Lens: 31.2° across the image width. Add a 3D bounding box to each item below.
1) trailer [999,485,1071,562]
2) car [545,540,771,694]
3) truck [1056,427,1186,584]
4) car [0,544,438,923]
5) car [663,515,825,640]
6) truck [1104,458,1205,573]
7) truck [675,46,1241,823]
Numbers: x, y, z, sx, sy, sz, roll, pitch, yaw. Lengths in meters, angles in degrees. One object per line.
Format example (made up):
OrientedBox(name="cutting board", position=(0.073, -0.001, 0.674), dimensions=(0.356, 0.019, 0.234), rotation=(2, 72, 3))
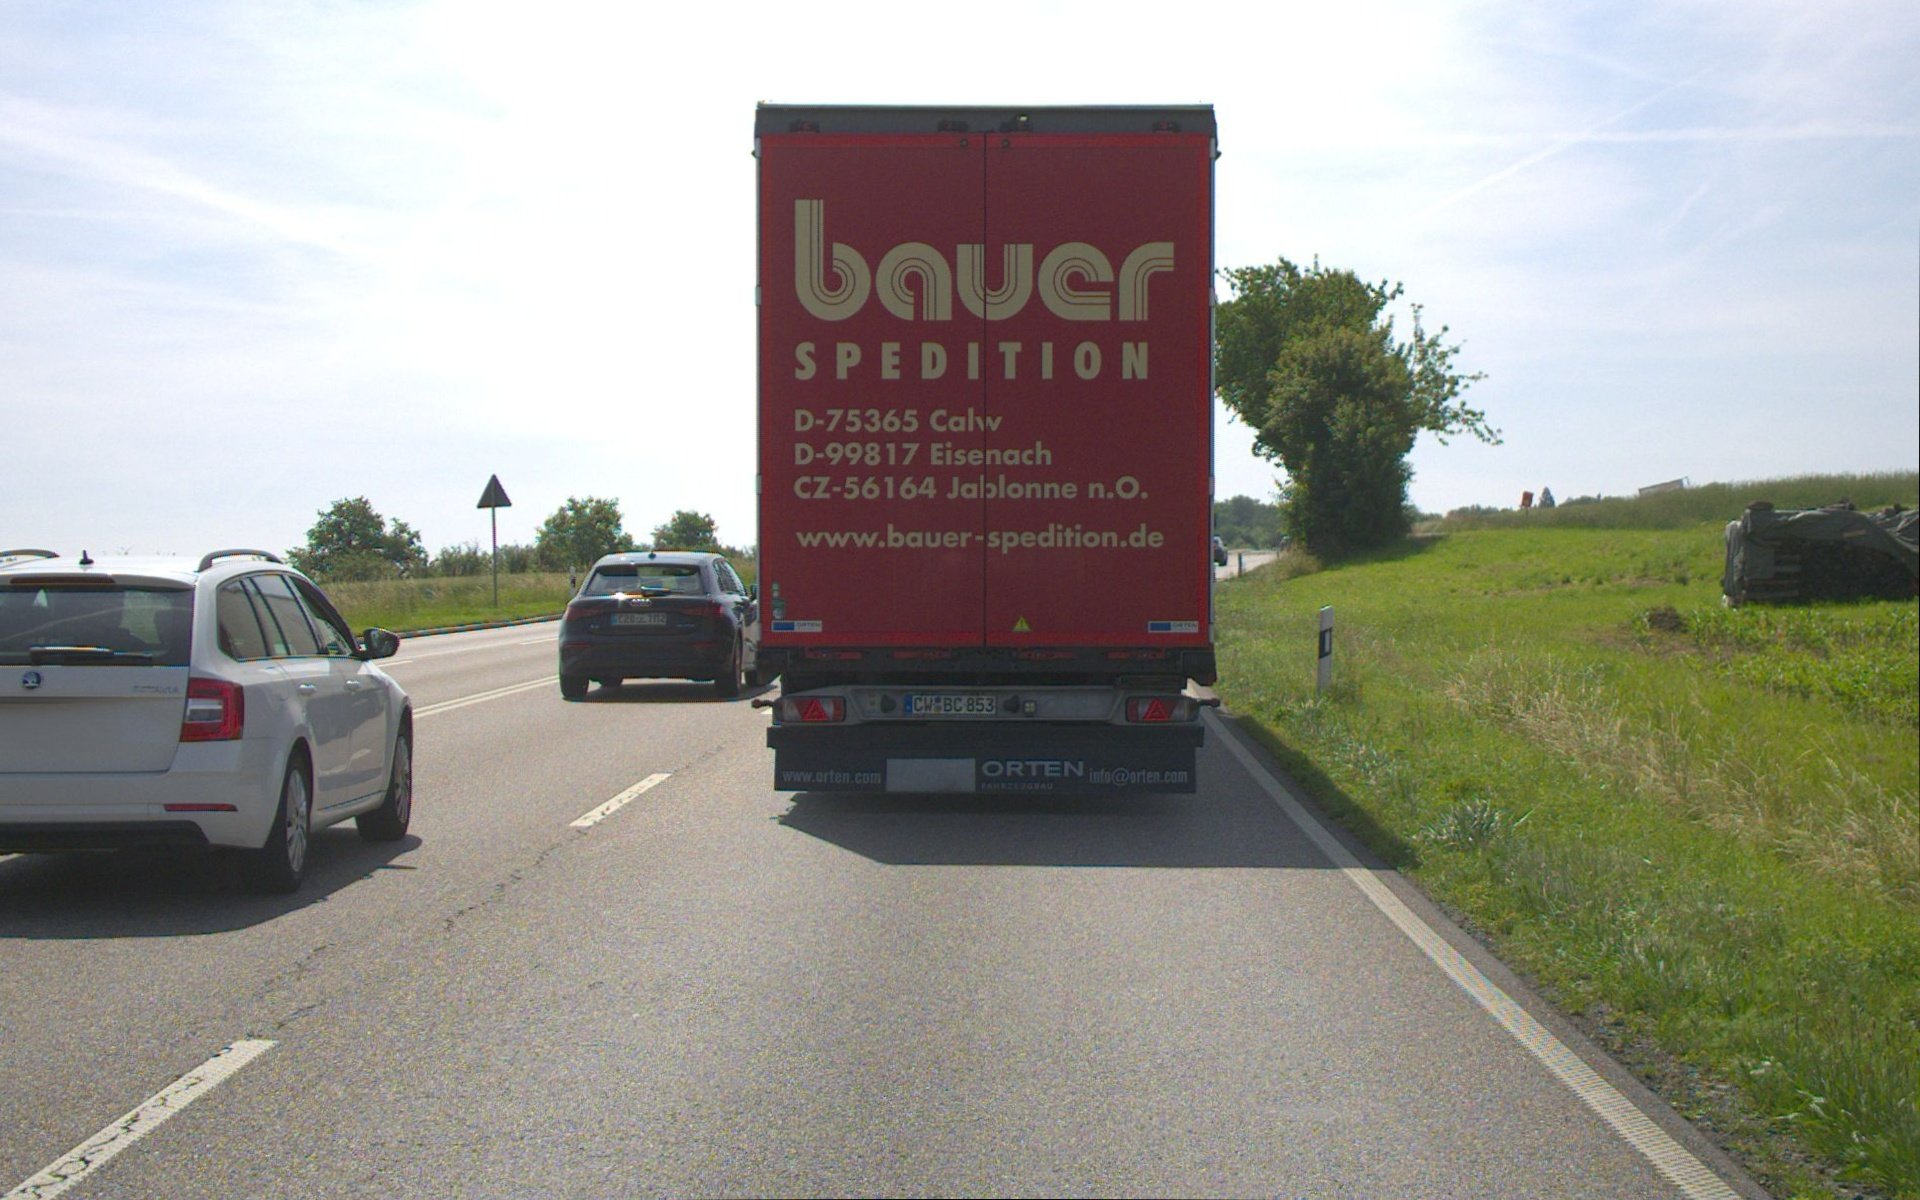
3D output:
OrientedBox(name="trailer", position=(4.310, -4.292, 193.621), dimensions=(2.546, 4.087, 13.580), rotation=(-2, 1, 7))
OrientedBox(name="car", position=(-3.027, 0.130, 35.339), dimensions=(1.705, 1.467, 4.811), rotation=(0, 1, 2))
OrientedBox(name="truck", position=(4.542, -2.490, 93.678), dimensions=(3.047, 3.897, 15.613), rotation=(0, 1, 4))
OrientedBox(name="car", position=(-3.727, 0.490, 15.995), dimensions=(1.821, 1.467, 4.789), rotation=(1, 1, 0))
OrientedBox(name="car", position=(-3.369, -0.369, 54.630), dimensions=(1.905, 1.878, 5.431), rotation=(0, 1, 4))
OrientedBox(name="truck", position=(7.344, -3.074, 127.319), dimensions=(3.047, 3.897, 18.395), rotation=(0, 1, 5))
OrientedBox(name="truck", position=(0.234, -1.018, 26.911), dimensions=(3.007, 4.165, 16.714), rotation=(1, 1, 2))
